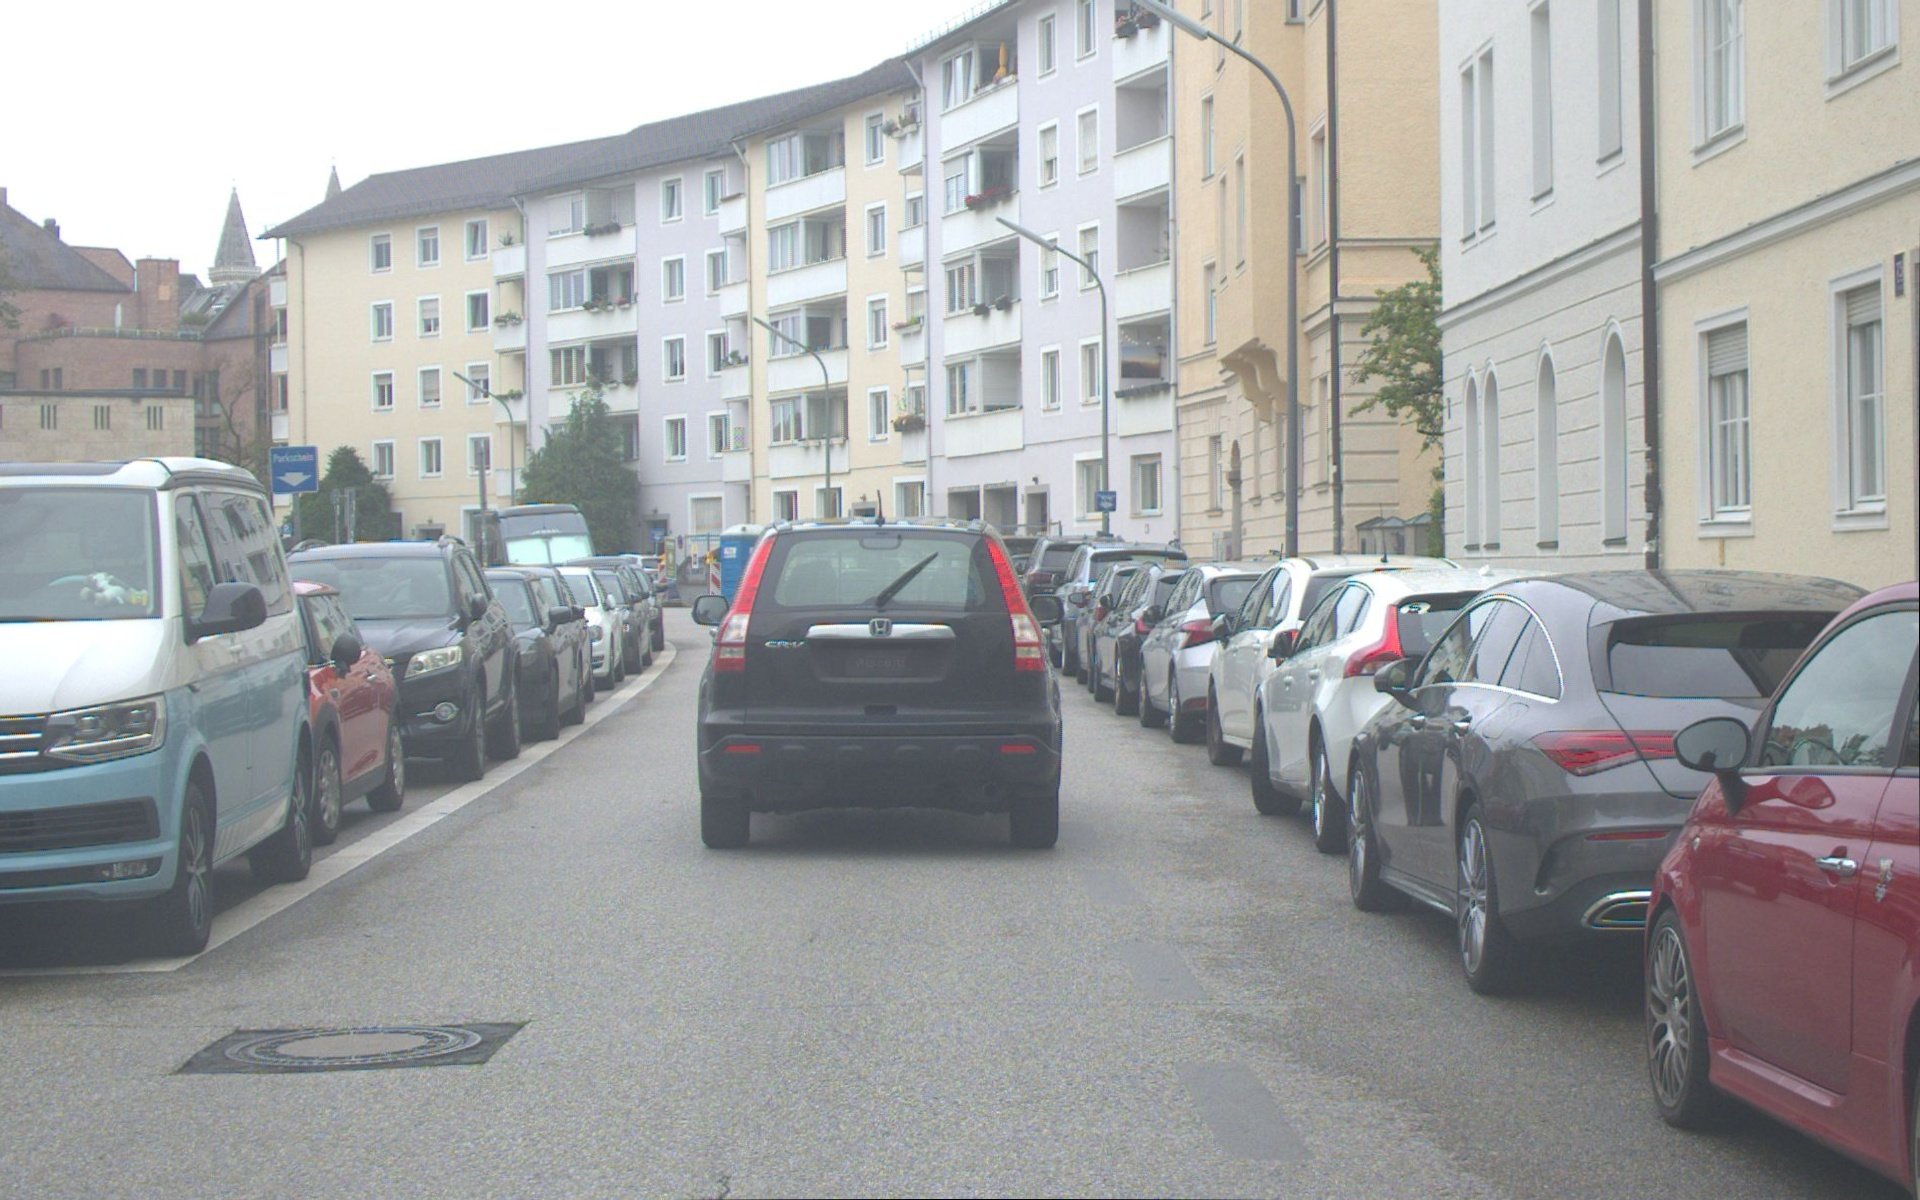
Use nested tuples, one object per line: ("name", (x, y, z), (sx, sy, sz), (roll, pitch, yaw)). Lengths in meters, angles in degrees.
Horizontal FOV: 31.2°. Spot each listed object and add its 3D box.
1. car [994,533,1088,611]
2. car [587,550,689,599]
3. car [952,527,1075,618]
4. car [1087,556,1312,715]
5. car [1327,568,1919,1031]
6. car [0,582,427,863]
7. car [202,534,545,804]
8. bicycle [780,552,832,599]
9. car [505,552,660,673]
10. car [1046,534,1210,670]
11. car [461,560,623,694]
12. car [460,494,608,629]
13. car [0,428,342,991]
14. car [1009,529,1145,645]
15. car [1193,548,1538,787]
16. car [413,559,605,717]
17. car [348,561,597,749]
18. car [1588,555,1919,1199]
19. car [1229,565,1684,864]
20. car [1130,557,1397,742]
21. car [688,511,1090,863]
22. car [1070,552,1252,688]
("car", (1.521, -0.543, 65.750), (1.708, 1.442, 3.830), (1, 1, 0))
("car", (-10.064, -0.806, 107.245), (1.724, 1.478, 4.000), (0, 1, -29))
("car", (1.057, -0.581, 70.667), (1.777, 1.800, 4.277), (1, 1, -9))
("car", (2.251, 0.298, 33.338), (1.679, 1.422, 4.392), (-1, 1, -3))
("car", (2.520, 0.596, 12.853), (1.679, 1.405, 4.422), (-1, 1, -2))
("car", (-4.147, 0.614, 19.387), (1.743, 1.382, 3.918), (0, 1, -1))
("car", (-4.135, 0.421, 24.894), (1.743, 1.660, 4.449), (-4, 1, -2))
("bicycle", (-4.596, -0.727, 102.517), (0.968, 1.384, 2.564), (0, 1, -17))
("car", (-5.003, 0.127, 45.998), (1.755, 1.448, 4.396), (-2, 1, -3))
("car", (2.081, -0.002, 43.678), (1.722, 1.628, 4.458), (-1, 1, -2))
("car", (-4.952, 0.282, 41.121), (1.656, 1.448, 4.074), (-3, 1, -4))
("car", (-8.980, -0.818, 72.009), (2.163, 2.632, 6.019), (-2, 1, -15))
("car", (-3.932, 0.381, 14.639), (1.928, 1.972, 5.023), (-2, 1, -3))
("car", (1.775, -0.222, 53.671), (1.869, 1.711, 4.866), (1, 1, -1))
("car", (2.671, 0.397, 23.520), (1.679, 1.476, 4.167), (-1, 1, -3))
("car", (-4.575, 0.347, 35.295), (1.656, 1.448, 3.975), (-3, 1, -4))
("car", (-4.191, 0.427, 30.046), (1.680, 1.448, 3.870), (-2, 1, -2))
("car", (2.700, 0.639, 7.930), (1.679, 1.492, 3.824), (-1, 1, -2))
("car", (2.545, 0.523, 18.630), (1.679, 1.405, 4.443), (-1, 1, -2))
("car", (2.457, 0.359, 28.760), (1.679, 1.422, 4.167), (-1, 1, -3))
("car", (-0.482, 0.386, 18.261), (1.890, 1.642, 3.992), (-1, 1, -4))
("car", (2.204, 0.188, 38.609), (1.679, 1.422, 4.087), (-1, 1, -2))
